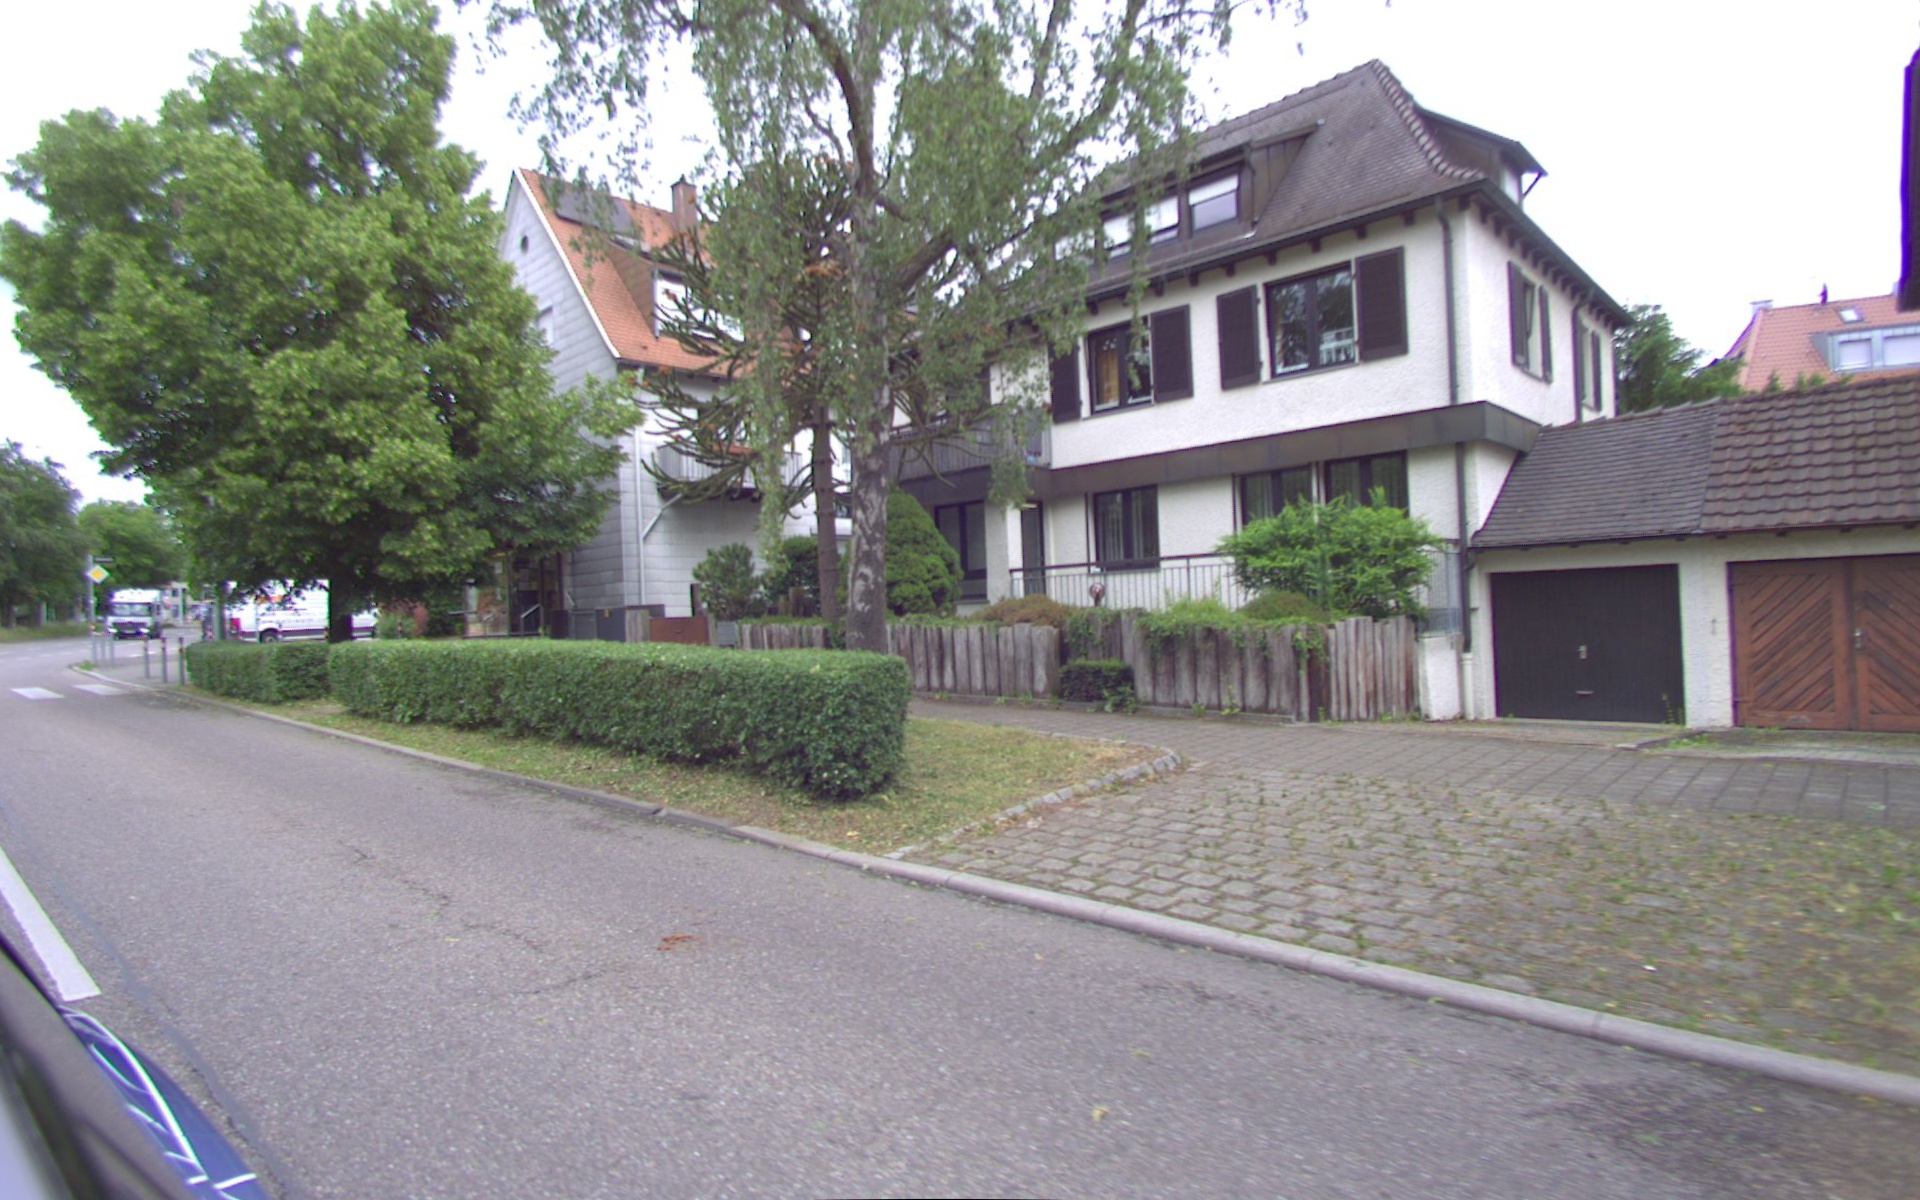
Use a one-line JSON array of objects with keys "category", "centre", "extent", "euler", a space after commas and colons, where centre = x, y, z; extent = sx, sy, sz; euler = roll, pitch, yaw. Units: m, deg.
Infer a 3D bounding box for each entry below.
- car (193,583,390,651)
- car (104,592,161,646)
[{"category": "car", "centre": [-25.198, 0.597, 38.523], "extent": [1.962, 2.365, 6.326], "euler": [-2, 0, 21]}, {"category": "car", "centre": [-53.786, 1.180, 65.888], "extent": [2.397, 3.300, 7.810], "euler": [-1, 0, -36]}]
